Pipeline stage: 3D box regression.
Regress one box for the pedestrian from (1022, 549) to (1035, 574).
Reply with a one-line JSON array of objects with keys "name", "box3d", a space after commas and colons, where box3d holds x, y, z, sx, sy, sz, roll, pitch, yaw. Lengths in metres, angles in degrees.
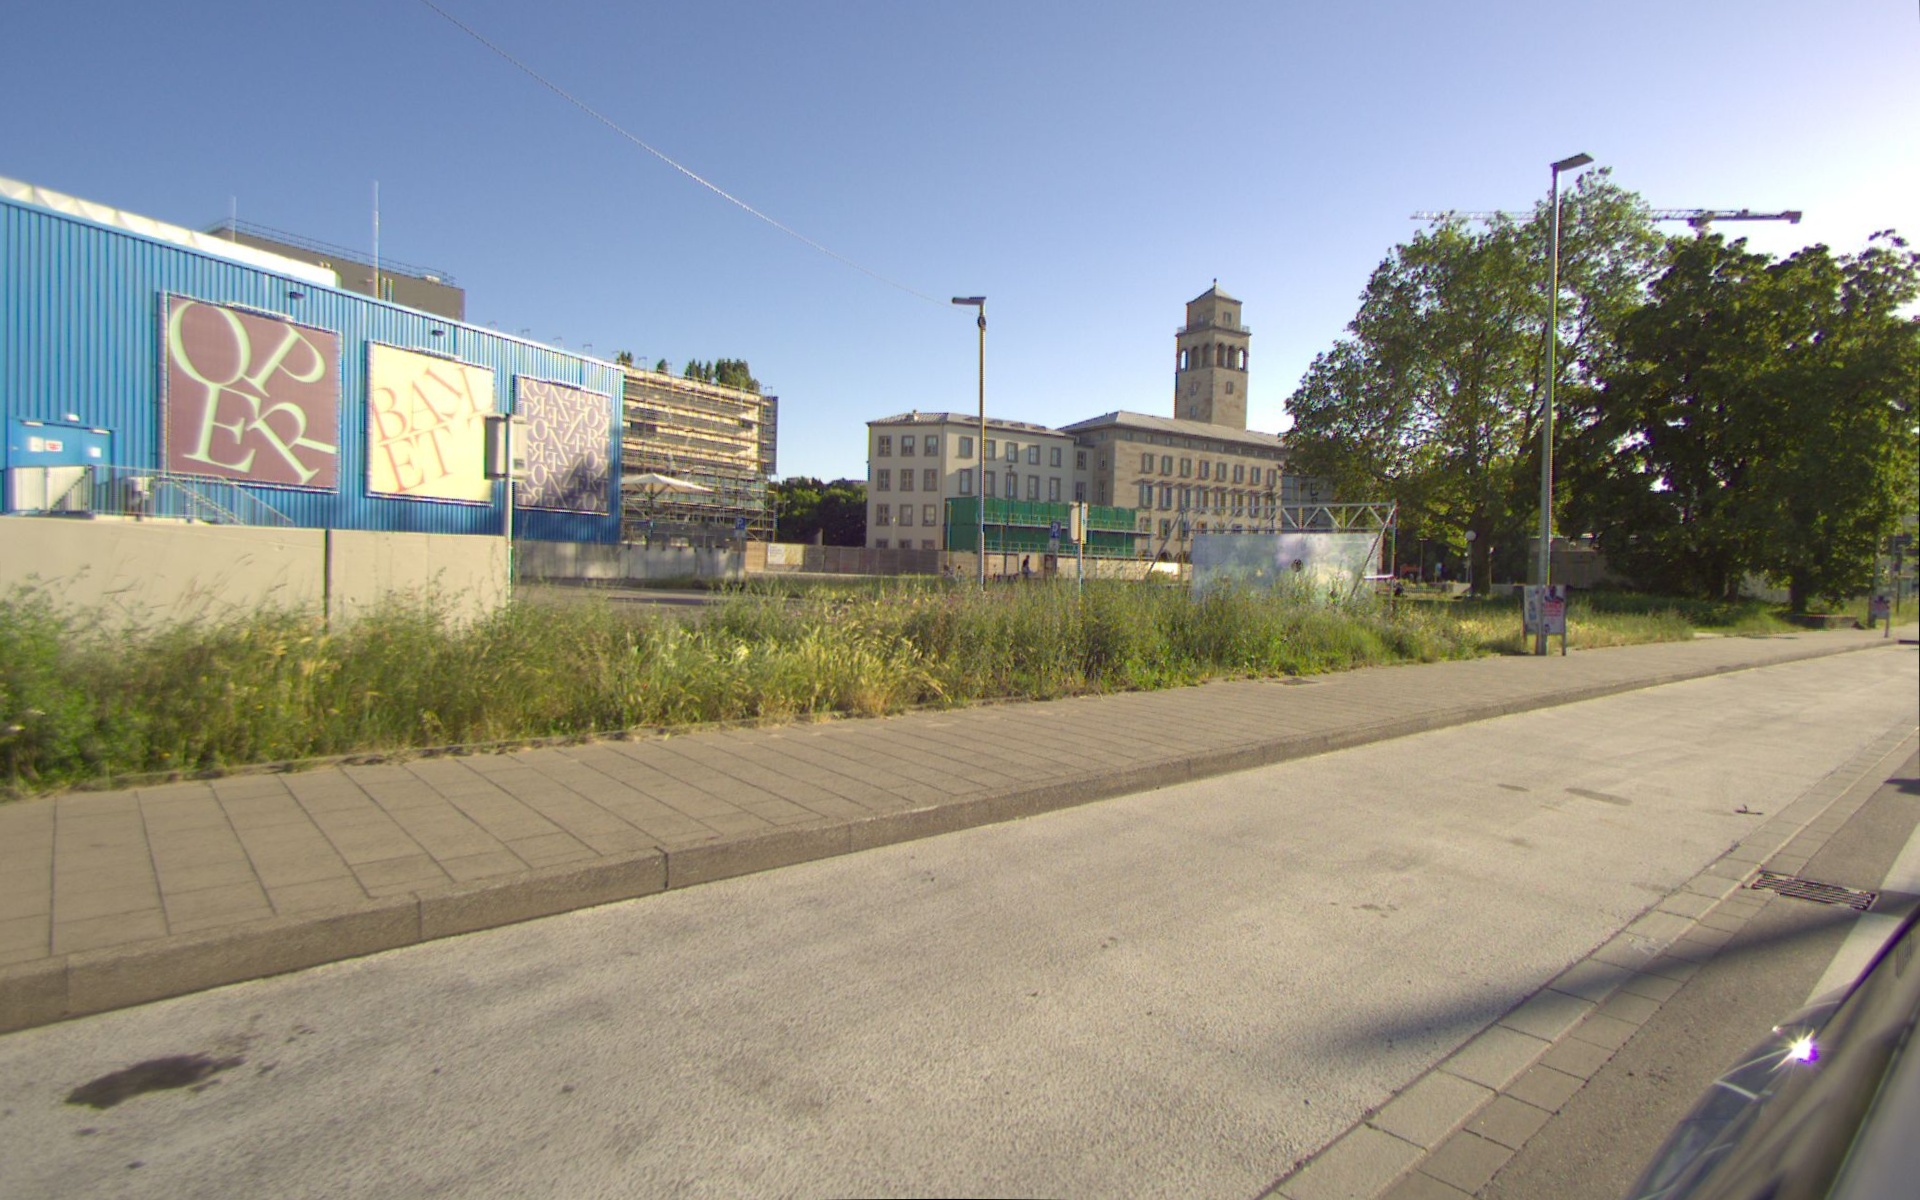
[{"name": "pedestrian", "box3d": [3.716, -2.069, 54.804, 0.432, 1.311, 0.574, -2, 1, -24]}]
